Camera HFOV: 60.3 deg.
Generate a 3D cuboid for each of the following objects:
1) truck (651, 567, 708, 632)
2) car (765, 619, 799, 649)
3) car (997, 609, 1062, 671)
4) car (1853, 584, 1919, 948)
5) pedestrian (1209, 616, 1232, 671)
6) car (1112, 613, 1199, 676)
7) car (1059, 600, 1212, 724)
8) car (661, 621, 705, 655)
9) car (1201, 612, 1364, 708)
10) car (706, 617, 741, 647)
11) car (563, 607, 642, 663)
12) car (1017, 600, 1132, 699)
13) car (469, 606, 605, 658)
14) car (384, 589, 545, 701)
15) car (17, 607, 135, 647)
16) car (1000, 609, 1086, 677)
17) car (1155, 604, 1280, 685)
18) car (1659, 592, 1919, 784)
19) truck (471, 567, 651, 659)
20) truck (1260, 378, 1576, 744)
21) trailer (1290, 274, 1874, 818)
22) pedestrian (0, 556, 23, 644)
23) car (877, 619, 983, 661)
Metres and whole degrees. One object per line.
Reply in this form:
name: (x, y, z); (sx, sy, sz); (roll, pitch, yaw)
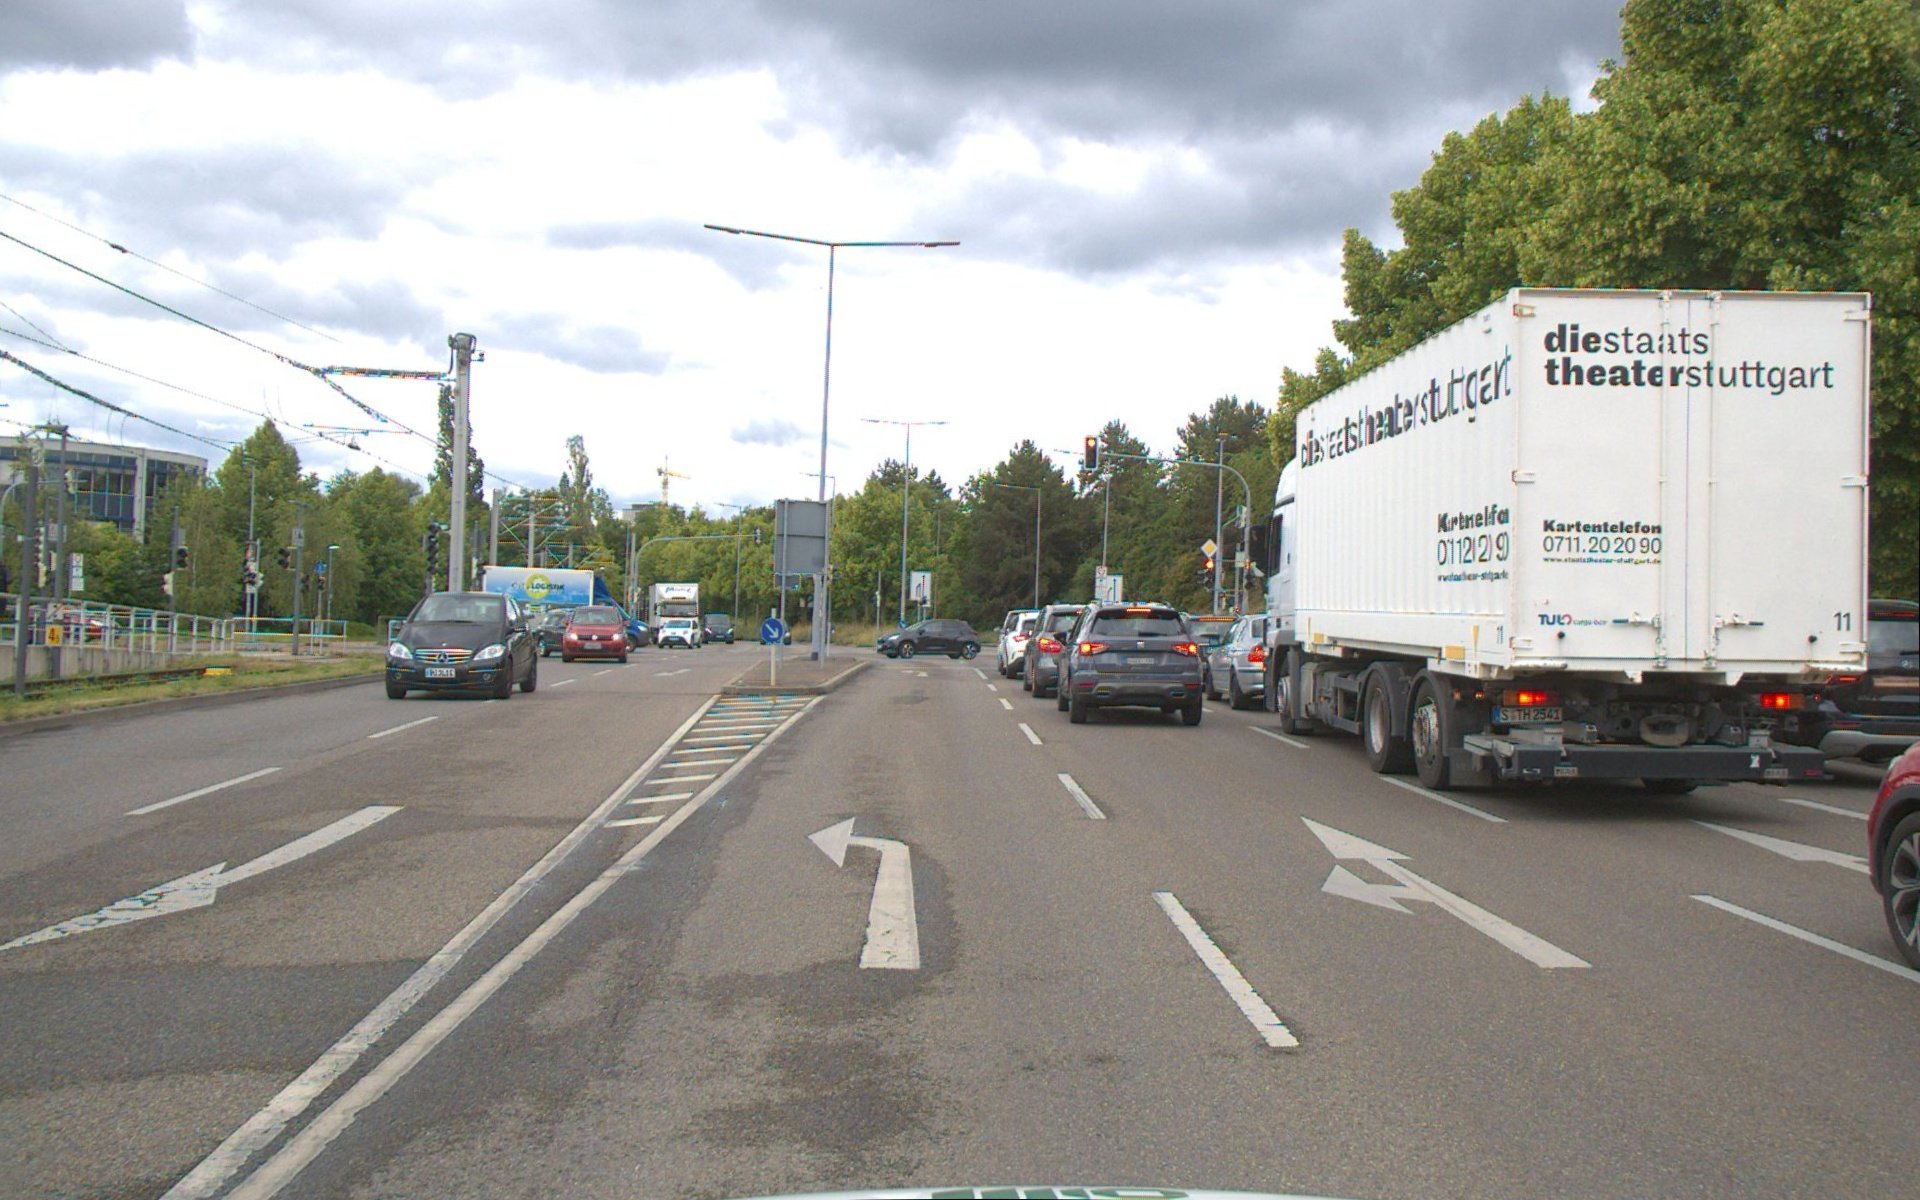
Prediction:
truck: (-17.080, -0.015, 101.064); (2.608, 3.713, 9.491); (2, 0, -5)
car: (-10.946, 2.077, 101.400); (1.880, 1.603, 3.993); (0, 2, -9)
car: (1.758, 1.029, 42.521); (1.504, 1.531, 2.669); (0, -1, -1)
car: (4.866, 0.712, 5.434); (1.672, 1.551, 4.320); (0, 0, 2)
pedestrian: (7.064, 1.187, 44.897); (0.598, 1.479, 0.354); (1, 0, 8)
car: (4.665, 1.053, 39.887); (1.514, 1.428, 3.998); (0, -1, -2)
car: (2.275, 0.780, 22.295); (1.663, 1.512, 4.000); (0, -1, 0)
car: (-14.151, 1.925, 84.664); (1.740, 1.534, 3.745); (1, 2, -3)
car: (4.949, 0.893, 25.916); (1.774, 1.378, 4.118); (0, -1, 0)
car: (-15.153, 2.012, 106.118); (1.878, 1.758, 3.998); (1, 1, -4)
car: (-10.076, 0.947, 46.829); (1.669, 1.514, 4.082); (0, 0, -5)
car: (1.900, 0.794, 28.591); (1.762, 1.550, 4.188); (1, 0, 1)
car: (-14.066, 1.051, 55.133); (3.902, 1.624, 2.002); (1, 0, 8)
car: (-7.567, 0.671, 25.586); (1.692, 1.601, 3.702); (0, -1, -6)
car: (-35.974, 1.085, 67.376); (3.902, 1.543, 1.733); (1, 0, 6)
car: (1.825, 0.948, 37.505); (1.686, 1.447, 4.355); (0, -1, -1)
car: (4.933, 0.853, 32.183); (1.788, 1.460, 4.212); (0, -1, 0)
car: (8.194, 0.773, 15.900); (1.538, 1.598, 3.058); (2, 1, -2)
truck: (-16.540, 0.486, 68.508); (7.124, 3.661, 2.680); (0, 2, -17)
truck: (5.116, -0.412, 19.190); (2.518, 3.770, 4.106); (0, 0, 0)
trailer: (5.114, -0.383, 15.416); (2.513, 3.770, 7.763); (0, 0, 0)
pedestrian: (-20.365, 0.000, 35.036); (0.561, 1.859, 0.792); (1, -1, -5)
car: (-1.146, 1.494, 62.223); (3.853, 1.522, 1.596); (0, 0, -9)
